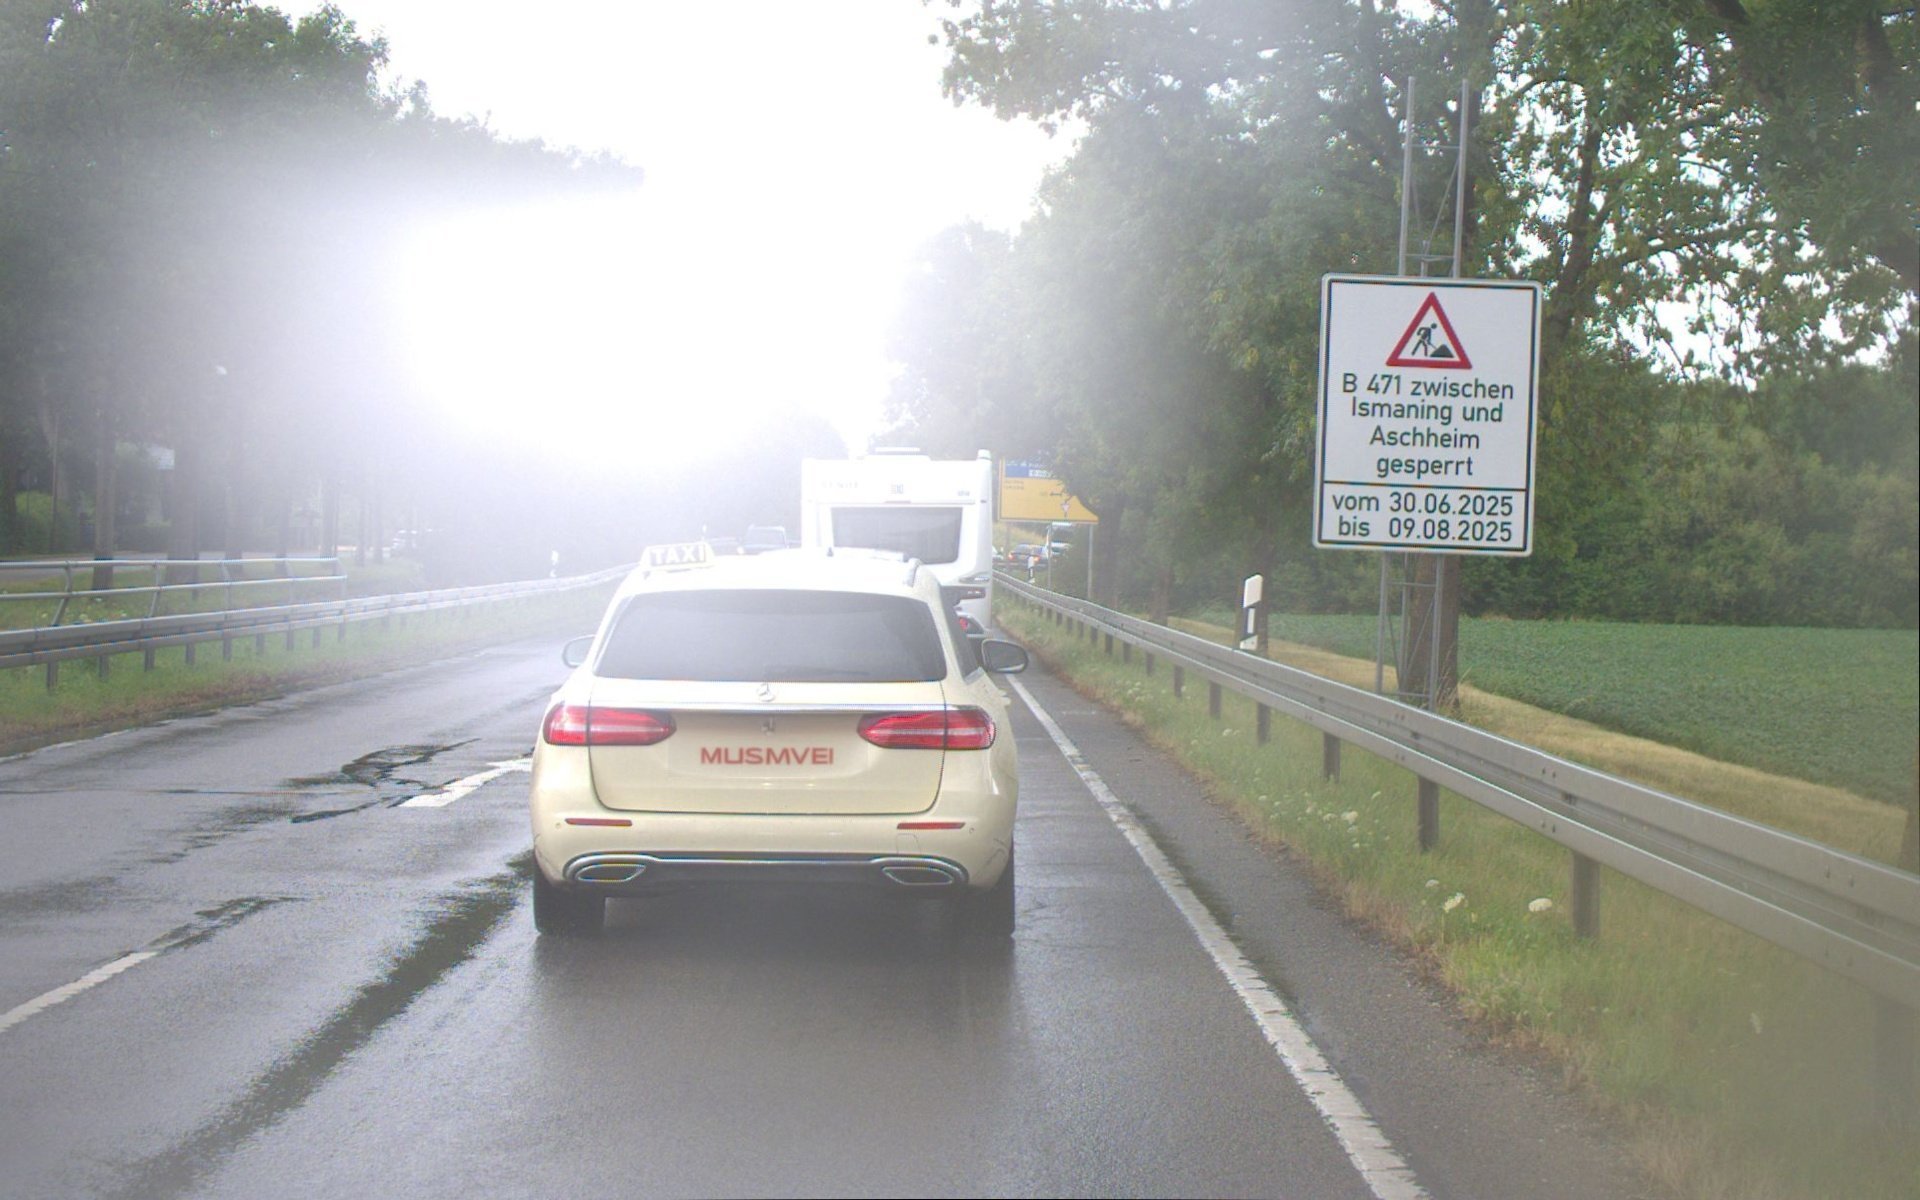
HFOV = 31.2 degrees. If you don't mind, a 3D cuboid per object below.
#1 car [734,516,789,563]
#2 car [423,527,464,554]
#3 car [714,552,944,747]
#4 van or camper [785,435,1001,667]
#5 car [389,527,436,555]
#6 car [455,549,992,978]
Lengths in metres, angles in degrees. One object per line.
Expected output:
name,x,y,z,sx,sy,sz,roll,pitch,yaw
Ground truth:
car,-6.862,-2.111,119.272,1.764,1.614,4.000,0,1,-1
car,-29.129,-3.361,193.956,1.785,1.411,4.001,2,1,-2
car,-0.986,0.343,27.627,1.664,1.426,4.000,0,1,0
van or camper,-0.765,-0.623,43.105,2.489,2.676,5.700,1,1,0
car,-28.713,-3.111,180.345,1.785,1.411,4.000,2,1,0
car,-0.810,0.539,13.955,1.865,1.471,4.000,0,1,0
